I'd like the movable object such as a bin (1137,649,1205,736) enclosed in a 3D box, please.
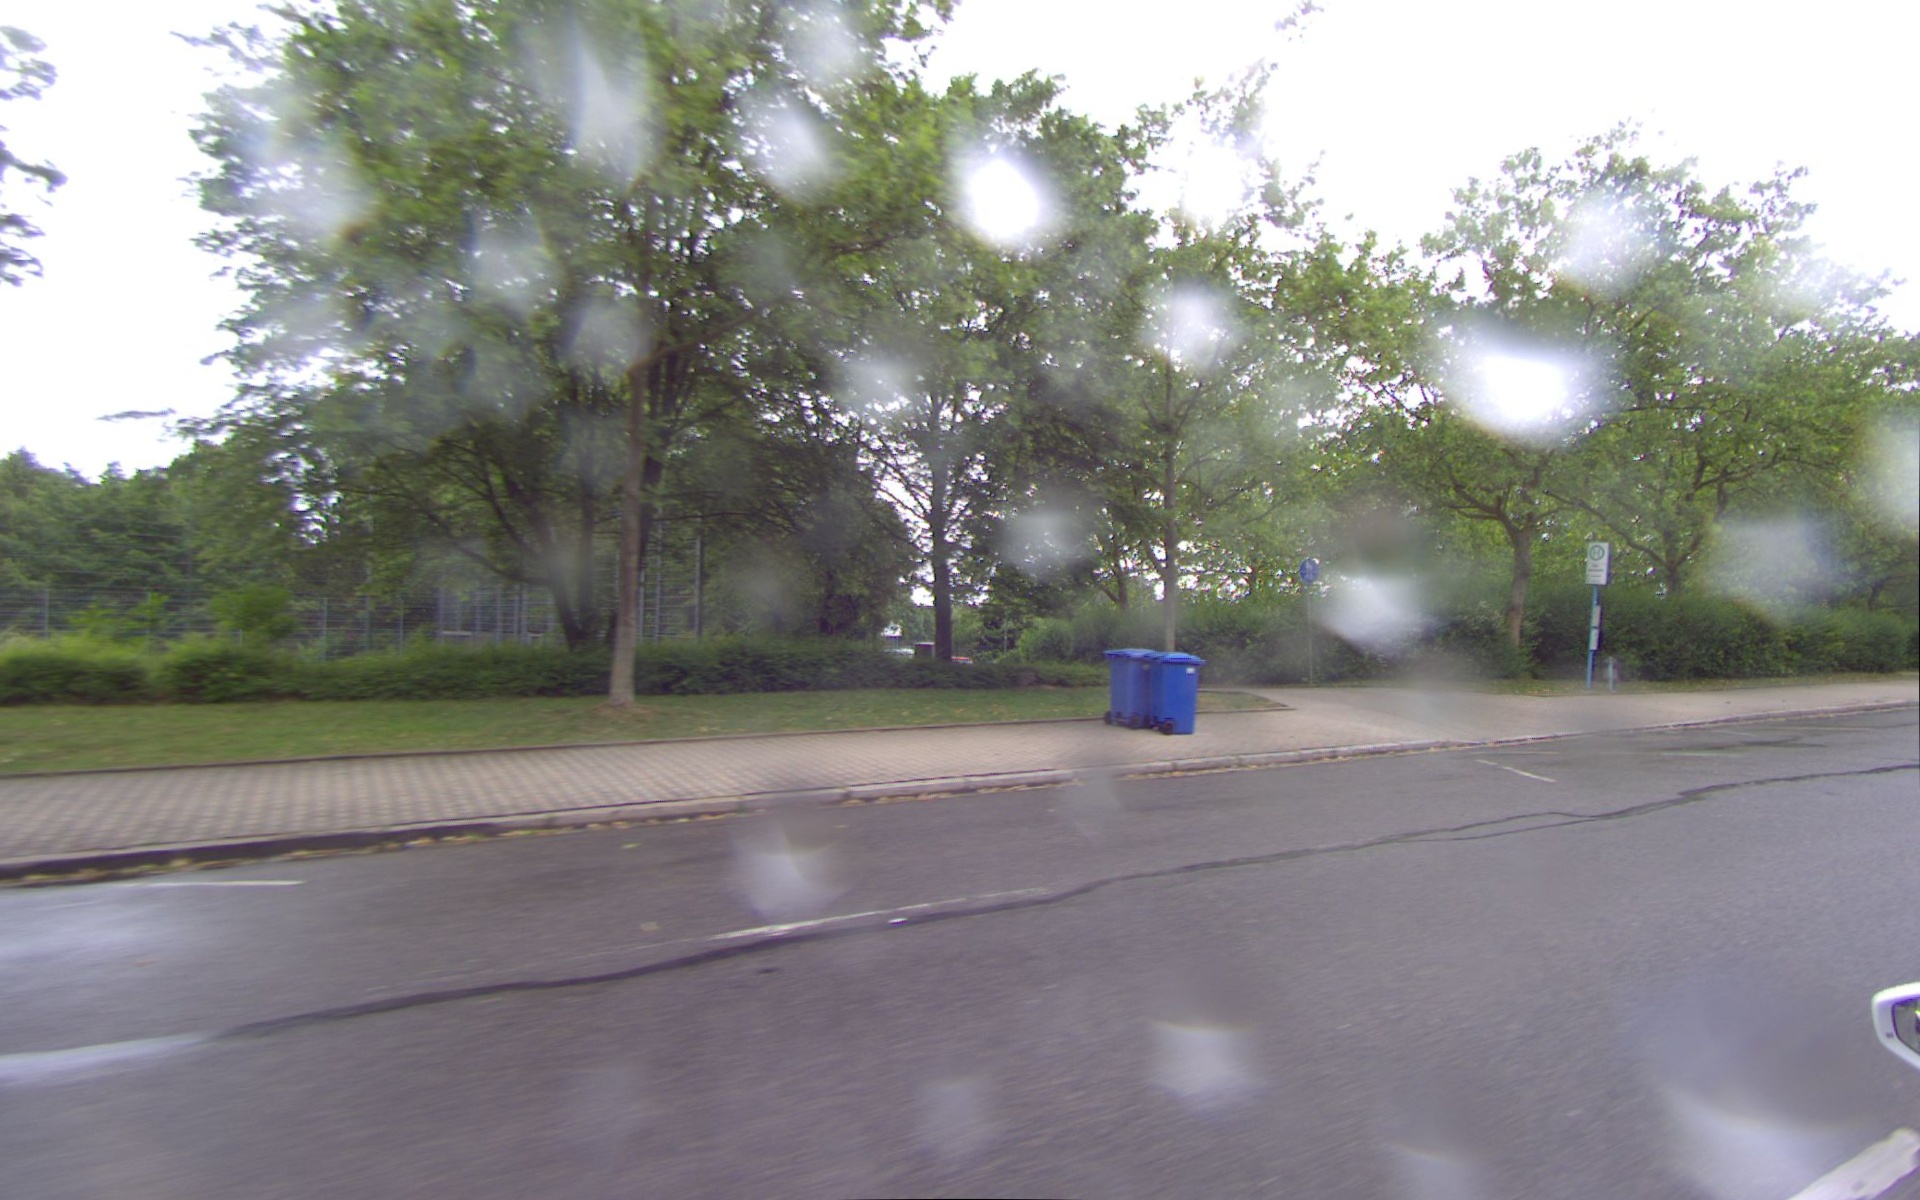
[{"bbox_3d":[2.875,1.240,13.683,0.663,1.113,0.564,1,1,-28],"label":"movable object such as a bin"}]

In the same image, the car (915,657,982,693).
[{"bbox_3d":[-0.589,3.562,47.910,1.775,1.529,3.979,5,-5,-23],"label":"car"}]

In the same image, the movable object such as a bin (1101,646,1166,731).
[{"bbox_3d":[2.436,1.228,14.124,0.663,1.113,0.564,1,1,-28],"label":"movable object such as a bin"}]
